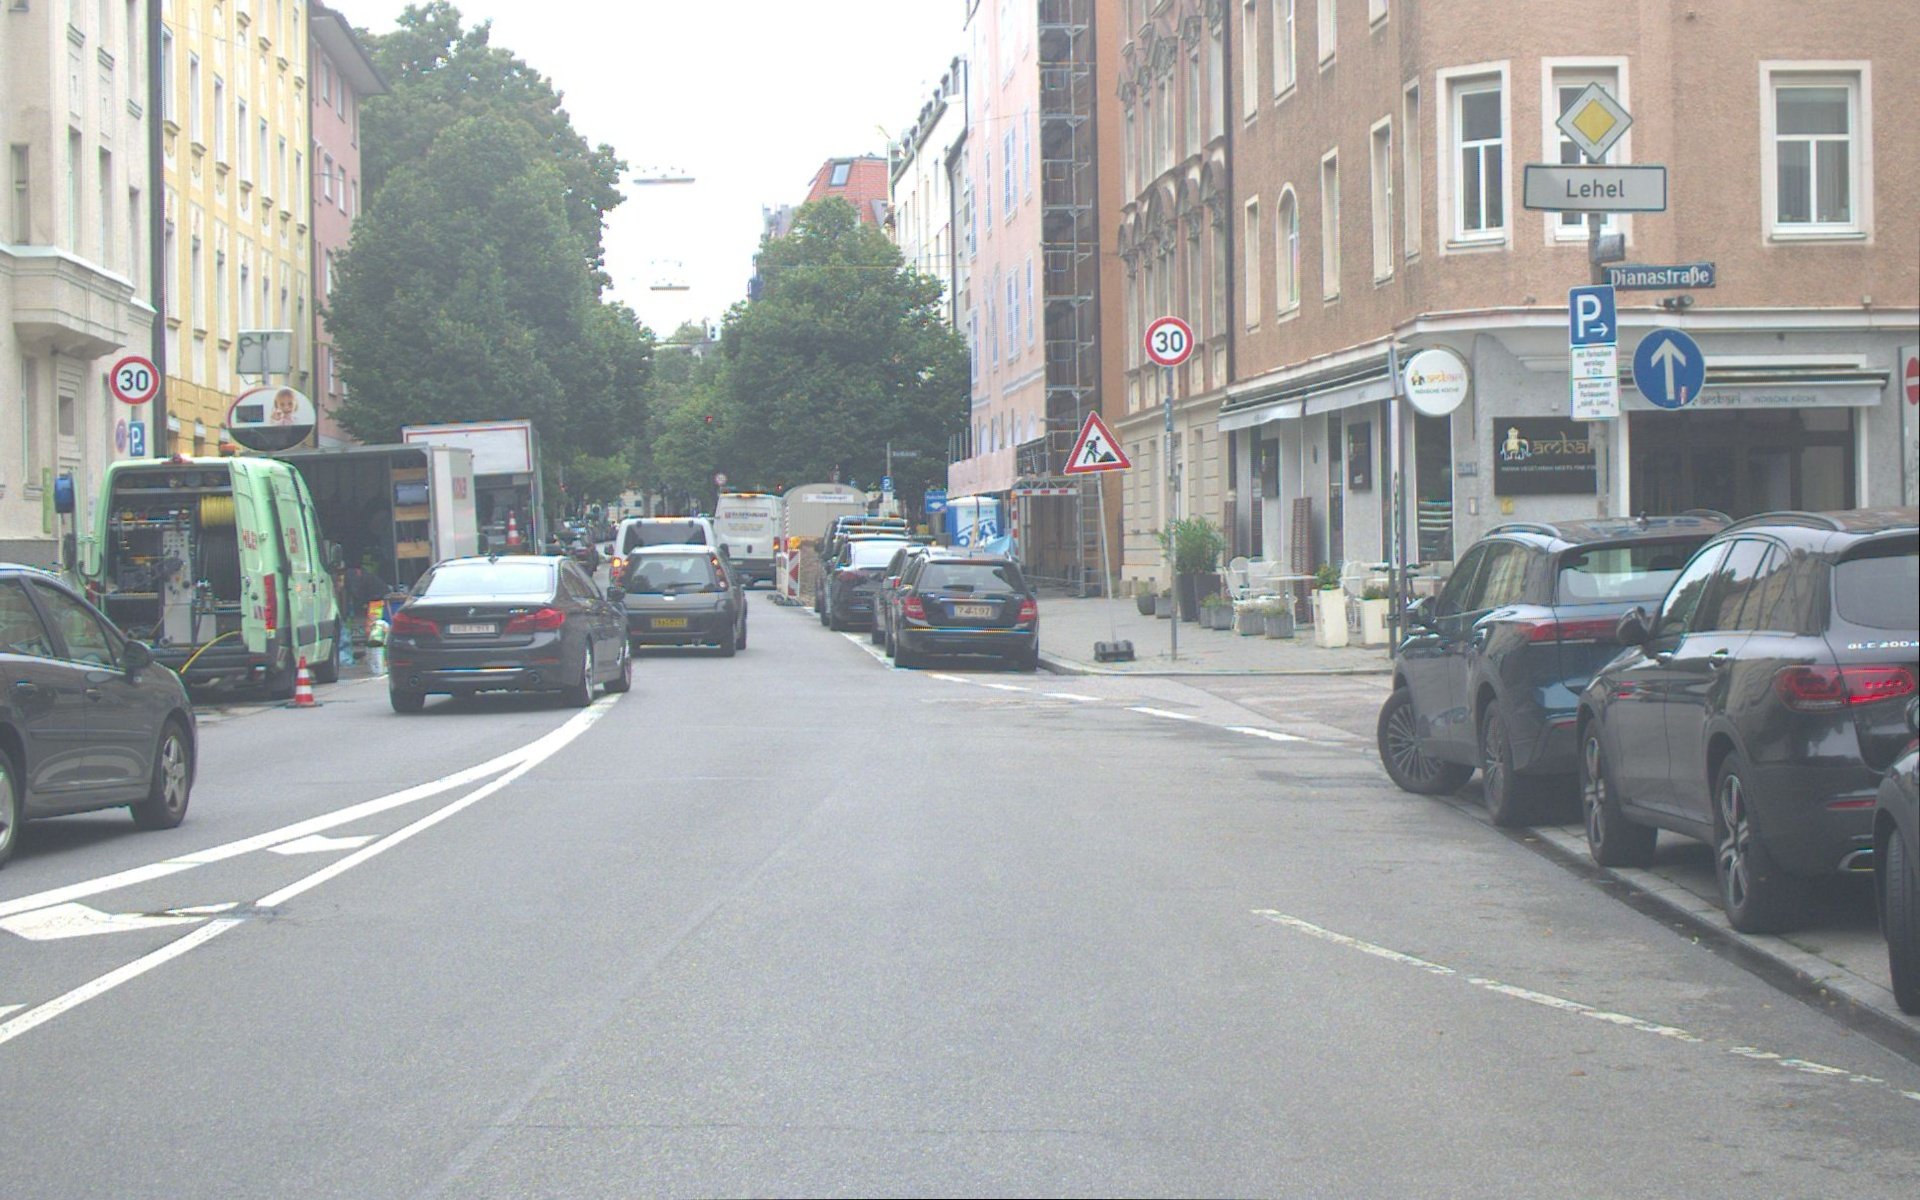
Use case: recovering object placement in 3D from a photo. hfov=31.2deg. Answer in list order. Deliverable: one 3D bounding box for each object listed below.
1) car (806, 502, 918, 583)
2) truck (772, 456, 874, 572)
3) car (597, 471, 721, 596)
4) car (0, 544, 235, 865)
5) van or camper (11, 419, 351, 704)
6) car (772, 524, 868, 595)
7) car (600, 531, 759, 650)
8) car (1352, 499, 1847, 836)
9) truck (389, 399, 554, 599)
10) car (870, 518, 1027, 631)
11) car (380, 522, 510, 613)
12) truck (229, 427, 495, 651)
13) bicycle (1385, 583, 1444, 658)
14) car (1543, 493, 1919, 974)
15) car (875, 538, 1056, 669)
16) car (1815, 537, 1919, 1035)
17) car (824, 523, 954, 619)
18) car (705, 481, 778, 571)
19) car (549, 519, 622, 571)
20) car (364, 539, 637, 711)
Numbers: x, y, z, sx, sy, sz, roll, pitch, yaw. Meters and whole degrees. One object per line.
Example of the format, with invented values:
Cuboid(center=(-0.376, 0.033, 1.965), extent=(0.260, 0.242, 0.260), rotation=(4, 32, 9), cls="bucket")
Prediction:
Cuboid(center=(-1.906, -1.122, 65.592), extent=(1.990, 1.424, 4.141), rotation=(-1, 2, -3), cls="car")
Cuboid(center=(-3.669, -2.267, 91.064), extent=(2.491, 2.963, 5.329), rotation=(0, 1, -4), cls="truck")
Cuboid(center=(-5.183, -1.190, 59.703), extent=(1.990, 2.068, 4.141), rotation=(-1, 2, -3), cls="car")
Cuboid(center=(-5.149, 0.469, 17.384), extent=(1.759, 1.456, 4.074), rotation=(-1, 1, 5), cls="car")
Cuboid(center=(-8.390, -0.505, 37.738), extent=(2.600, 2.830, 6.187), rotation=(-1, 2, -3), cls="van or camper")
Cuboid(center=(-3.085, -0.902, 75.102), extent=(1.990, 1.424, 4.141), rotation=(-1, 2, -3), cls="car")
Cuboid(center=(-3.695, -0.165, 45.913), extent=(1.990, 1.424, 4.141), rotation=(-1, 2, -3), cls="car")
Cuboid(center=(3.573, 0.303, 20.050), extent=(1.818, 1.673, 4.511), rotation=(-2, 1, -2), cls="car")
Cuboid(center=(-10.027, -2.068, 71.187), extent=(3.012, 3.938, 6.997), rotation=(0, 1, -5), cls="truck")
Cuboid(center=(-0.210, -0.399, 48.873), extent=(1.844, 1.424, 4.141), rotation=(2, 2, -5), cls="car")
Cuboid(center=(-9.479, -0.626, 63.556), extent=(1.990, 1.605, 4.141), rotation=(0, 1, -3), cls="car")
Cuboid(center=(-8.234, -0.922, 48.199), extent=(2.773, 2.863, 7.203), rotation=(-1, 2, -3), cls="truck")
Cuboid(center=(5.097, 0.227, 38.604), extent=(0.456, 0.802, 1.327), rotation=(0, 1, -2), cls="bicycle")
Cuboid(center=(3.757, 0.399, 14.450), extent=(1.756, 1.673, 4.707), rotation=(-2, 1, 0), cls="car")
Cuboid(center=(0.011, 0.002, 42.980), extent=(1.844, 1.424, 4.184), rotation=(2, 2, -5), cls="car")
Cuboid(center=(3.727, 0.553, 9.782), extent=(1.757, 1.491, 3.823), rotation=(-2, 1, 3), cls="car")
Cuboid(center=(-1.231, -0.522, 57.633), extent=(1.844, 1.424, 4.307), rotation=(2, 2, -5), cls="car")
Cuboid(center=(-6.193, -2.098, 97.765), extent=(1.939, 2.472, 4.783), rotation=(0, 1, -2), cls="car")
Cuboid(center=(-10.648, -1.568, 97.898), extent=(1.939, 1.443, 3.867), rotation=(0, 1, -5), cls="car")
Cuboid(center=(-4.369, 0.179, 33.460), extent=(1.990, 1.424, 4.906), rotation=(-1, 2, 0), cls="car")
